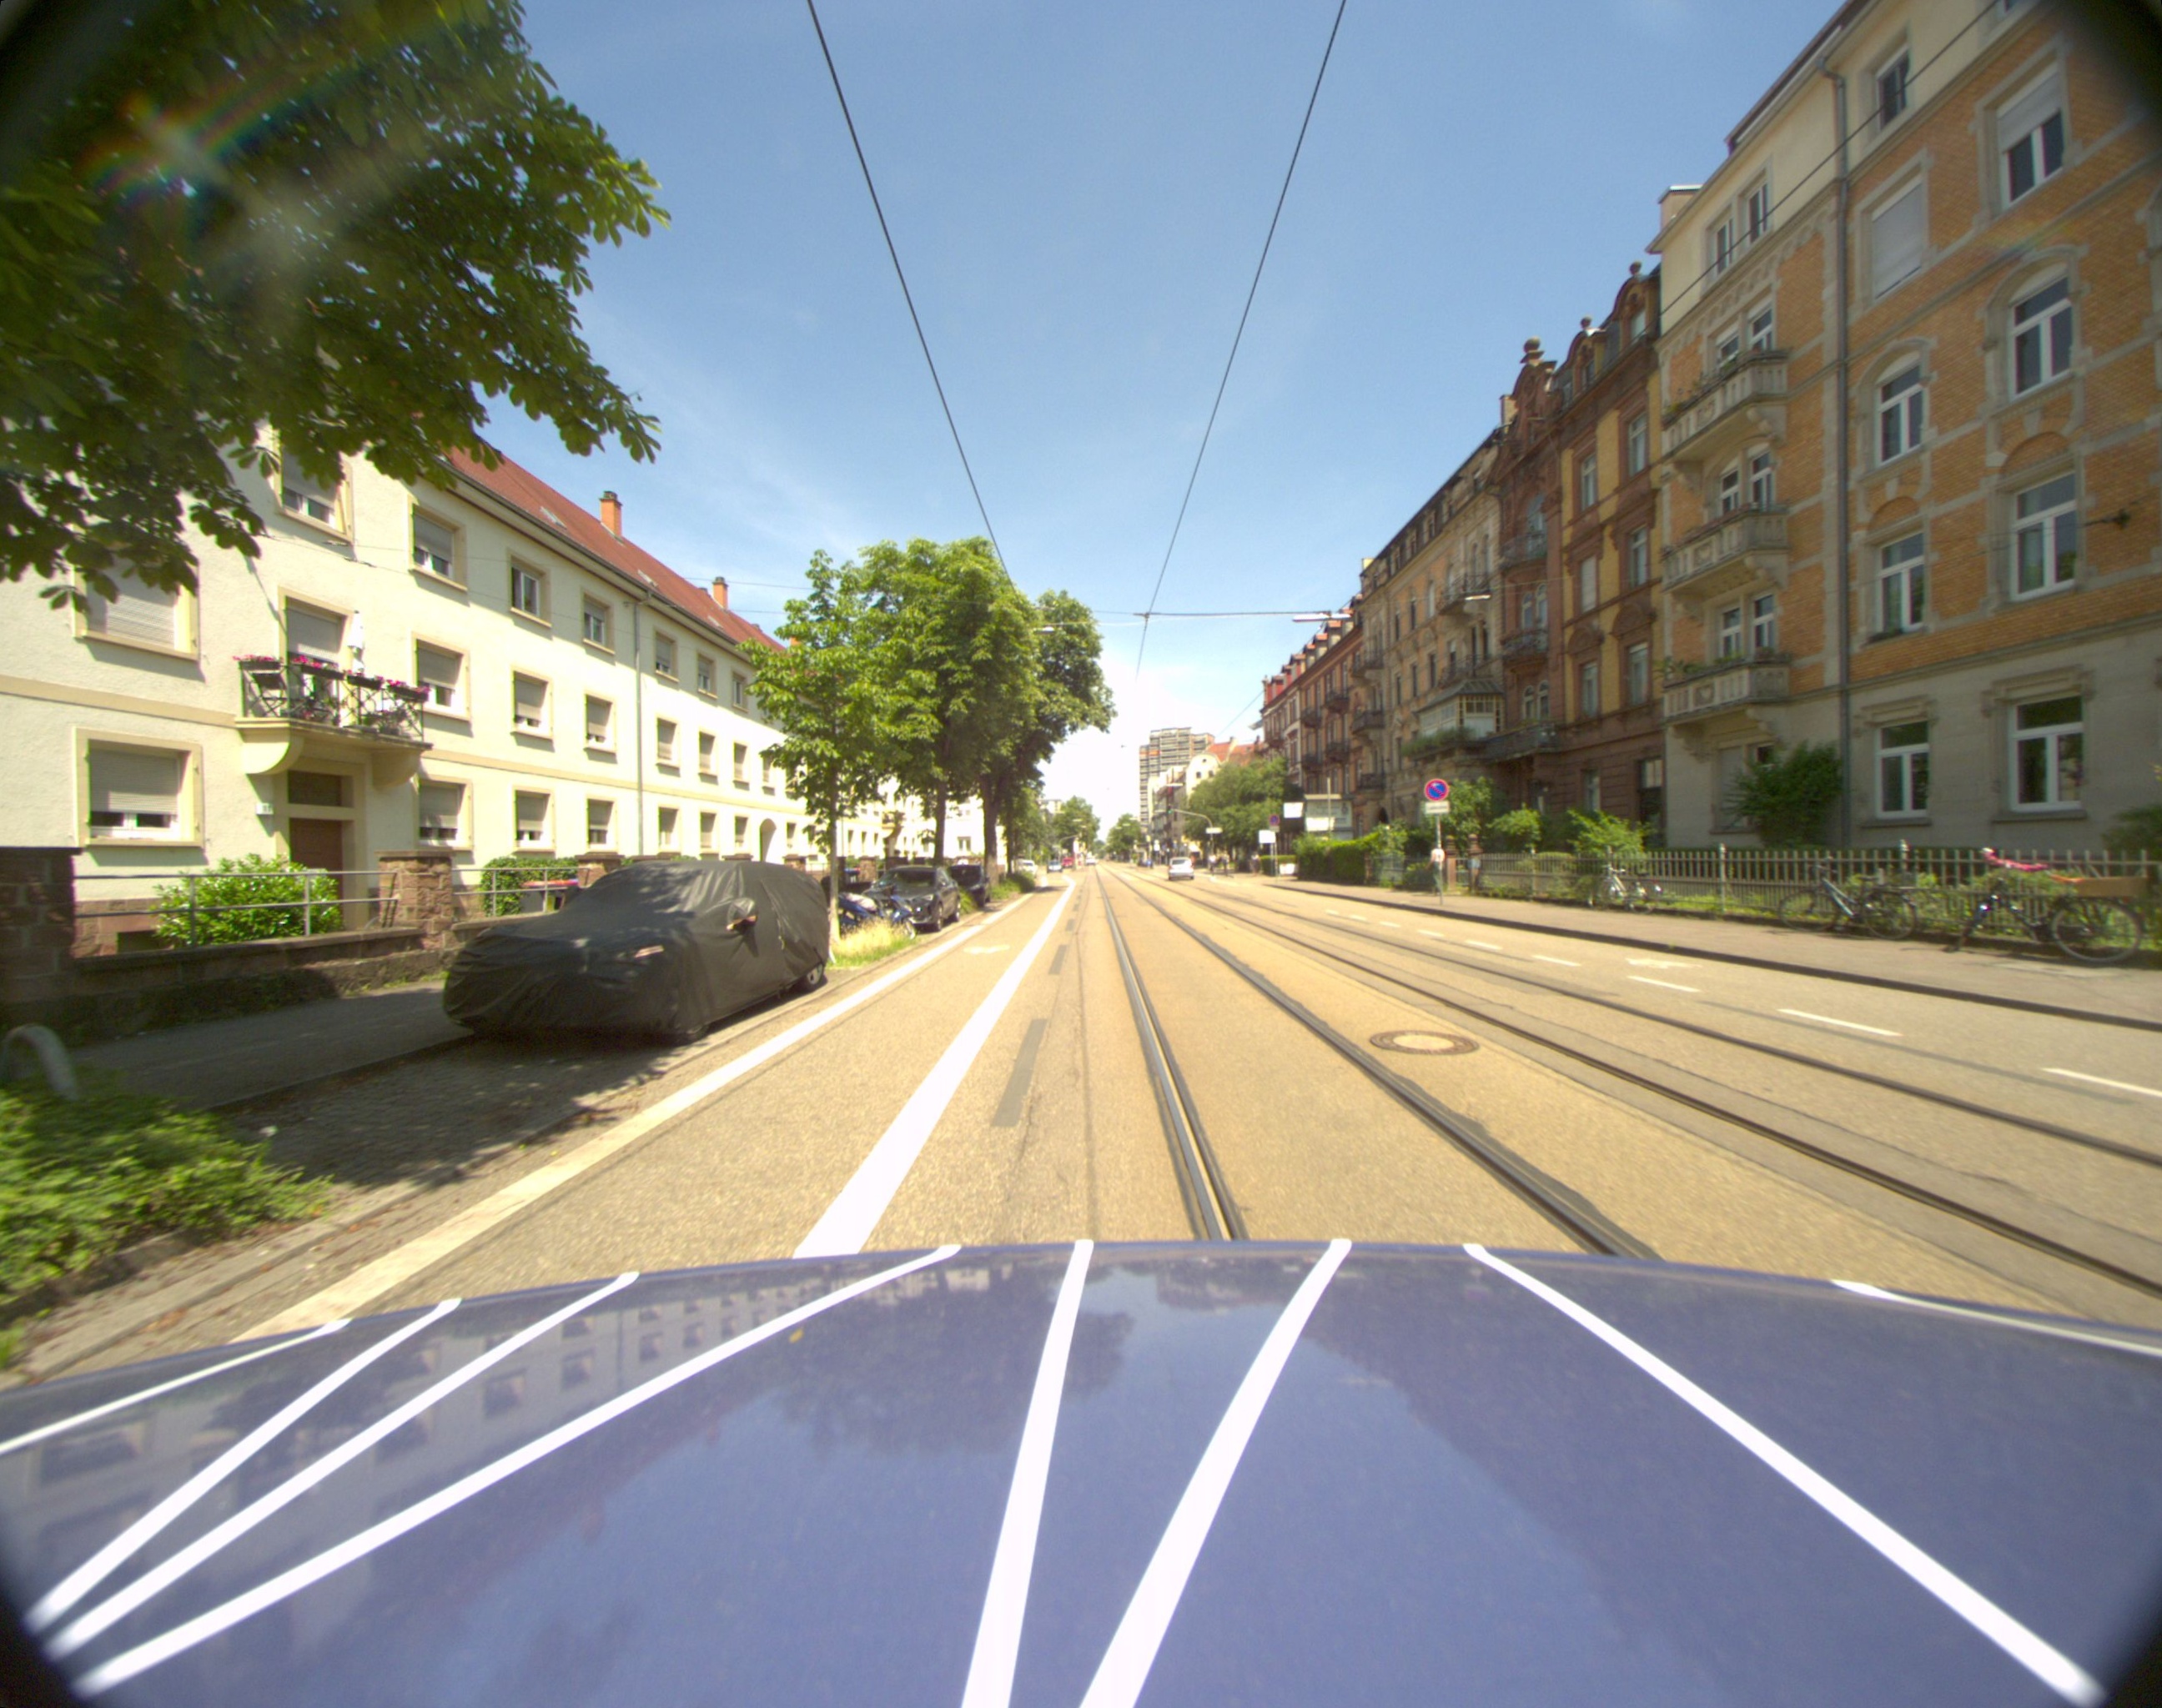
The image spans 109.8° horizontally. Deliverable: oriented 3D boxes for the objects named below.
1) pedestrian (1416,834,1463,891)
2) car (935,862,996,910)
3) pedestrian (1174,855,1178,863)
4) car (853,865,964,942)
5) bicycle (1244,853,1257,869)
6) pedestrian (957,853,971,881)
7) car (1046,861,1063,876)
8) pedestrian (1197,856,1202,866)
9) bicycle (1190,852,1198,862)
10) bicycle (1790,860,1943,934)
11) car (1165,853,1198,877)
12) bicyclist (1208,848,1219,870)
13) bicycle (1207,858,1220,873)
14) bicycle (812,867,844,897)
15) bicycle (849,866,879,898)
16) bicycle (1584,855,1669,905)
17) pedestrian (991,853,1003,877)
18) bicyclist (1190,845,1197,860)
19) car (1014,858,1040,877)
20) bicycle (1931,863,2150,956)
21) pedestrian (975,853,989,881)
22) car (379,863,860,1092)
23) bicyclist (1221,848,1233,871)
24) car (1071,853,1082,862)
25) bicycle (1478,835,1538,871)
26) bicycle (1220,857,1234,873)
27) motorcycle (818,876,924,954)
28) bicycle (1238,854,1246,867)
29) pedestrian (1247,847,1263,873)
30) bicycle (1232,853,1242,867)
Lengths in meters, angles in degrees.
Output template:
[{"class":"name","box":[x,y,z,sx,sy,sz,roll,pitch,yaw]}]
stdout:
[{"class":"pedestrian","box":[11.327,0.260,24.038,0.853,1.713,1.138,-5,1,1]},{"class":"car","box":[-4.142,1.092,27.703,1.661,1.506,3.999,-2,0,-2]},{"class":"pedestrian","box":[17.584,0.910,141.120,0.537,1.433,0.520,-2,1,-9]},{"class":"car","box":[-4.097,1.110,18.776,1.737,1.543,4.453,-2,0,-1]},{"class":"bicycle","box":[12.920,0.516,57.882,0.639,1.087,1.931,-4,0,4]},{"class":"pedestrian","box":[-7.036,0.772,45.601,0.699,1.660,0.756,0,1,0]},{"class":"car","box":[-3.042,1.649,87.919,1.737,1.543,4.423,-2,0,-1]},{"class":"pedestrian","box":[18.401,1.069,117.852,0.537,1.433,0.520,-2,1,-9]},{"class":"bicycle","box":[11.429,0.293,76.999,0.569,1.032,1.829,-2,0,1]},{"class":"bicycle","box":[11.515,0.597,11.220,0.440,0.978,1.710,-3,0,-1]},{"class":"car","box":[6.554,0.681,49.841,1.689,1.441,4.000,-2,0,2]},{"class":"bicyclist","box":[9.376,0.337,53.897,0.594,1.535,0.952,-1,1,0]},{"class":"bicycle","box":[9.385,0.804,53.920,0.582,1.072,1.890,-1,0,1]},{"class":"bicycle","box":[-10.285,1.126,30.950,0.598,1.119,1.970,1,1,2]},{"class":"bicycle","box":[-8.782,1.123,30.796,0.598,1.202,1.970,0,0,1]},{"class":"bicycle","box":[11.702,0.529,16.362,0.498,0.981,1.710,-6,0,-1]},{"class":"pedestrian","box":[-5.911,0.755,53.647,0.699,1.660,0.756,-2,1,-1]},{"class":"bicyclist","box":[11.411,-0.142,76.988,0.564,1.507,0.892,-2,1,1]},{"class":"car","box":[-4.321,1.086,61.718,1.782,1.402,4.156,2,0,0]},{"class":"bicycle","box":[11.471,0.615,9.179,0.440,0.978,1.710,-3,0,-1]},{"class":"pedestrian","box":[-5.987,0.790,45.903,0.699,1.660,0.869,0,1,0]},{"class":"car","box":[-4.267,0.991,8.263,1.952,1.641,4.881,-2,0,4]},{"class":"bicyclist","box":[10.376,0.389,54.005,0.635,1.575,1.028,-1,1,0]},{"class":"car","box":[-0.837,0.565,128.887,1.737,1.543,4.423,-2,0,-1]},{"class":"bicycle","box":[12.973,-0.024,23.109,1.513,1.037,0.495,-2,1,2]},{"class":"bicycle","box":[10.381,0.759,53.962,0.630,1.072,1.875,-1,0,1]},{"class":"motorcycle","box":[-4.184,1.200,15.263,1.919,1.425,0.671,-3,1,-8]},{"class":"bicycle","box":[13.880,0.582,65.473,0.460,1.050,1.565,-2,0,4]},{"class":"pedestrian","box":[11.748,0.373,51.294,0.874,1.690,1.013,-2,1,7]},{"class":"bicycle","box":[13.892,0.518,67.627,0.574,1.162,1.716,-2,0,4]}]
